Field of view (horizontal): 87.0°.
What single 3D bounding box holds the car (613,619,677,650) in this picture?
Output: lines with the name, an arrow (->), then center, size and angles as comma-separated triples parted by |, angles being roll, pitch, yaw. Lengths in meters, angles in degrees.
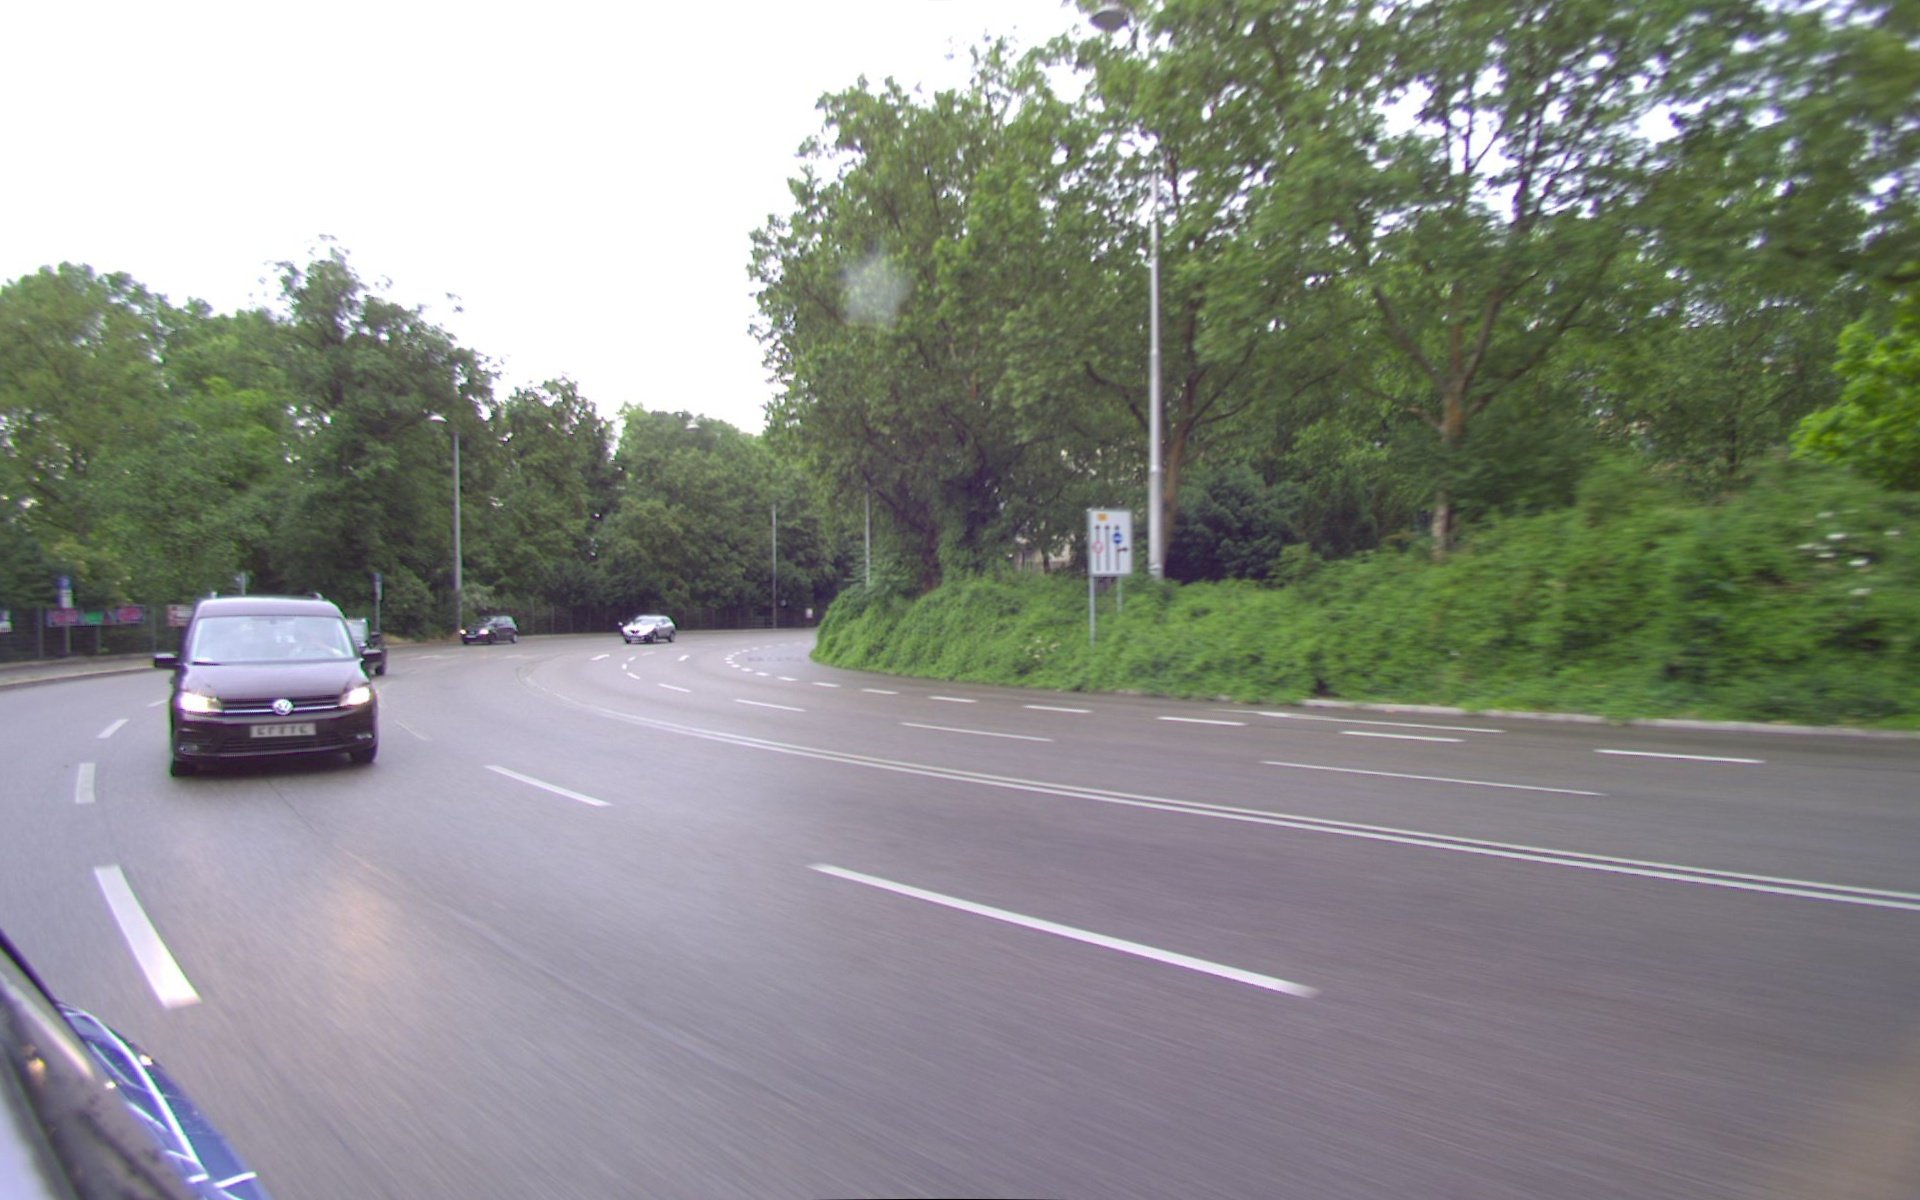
car -> -18.891, 2.050, 60.913 | 1.976, 1.758, 4.644 | -1, -1, 8

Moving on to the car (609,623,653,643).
car -> -23.579, 2.346, 72.625 | 1.568, 1.343, 3.091 | -1, -1, 16

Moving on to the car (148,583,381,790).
car -> -7.706, 0.828, 11.098 | 1.767, 1.813, 4.133 | 1, -2, -38

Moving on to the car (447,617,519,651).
car -> -26.024, 1.846, 55.381 | 1.973, 1.758, 3.997 | 0, -1, 2

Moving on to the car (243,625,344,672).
car -> -23.179, 1.652, 35.354 | 1.766, 1.464, 4.011 | 0, -1, -15
